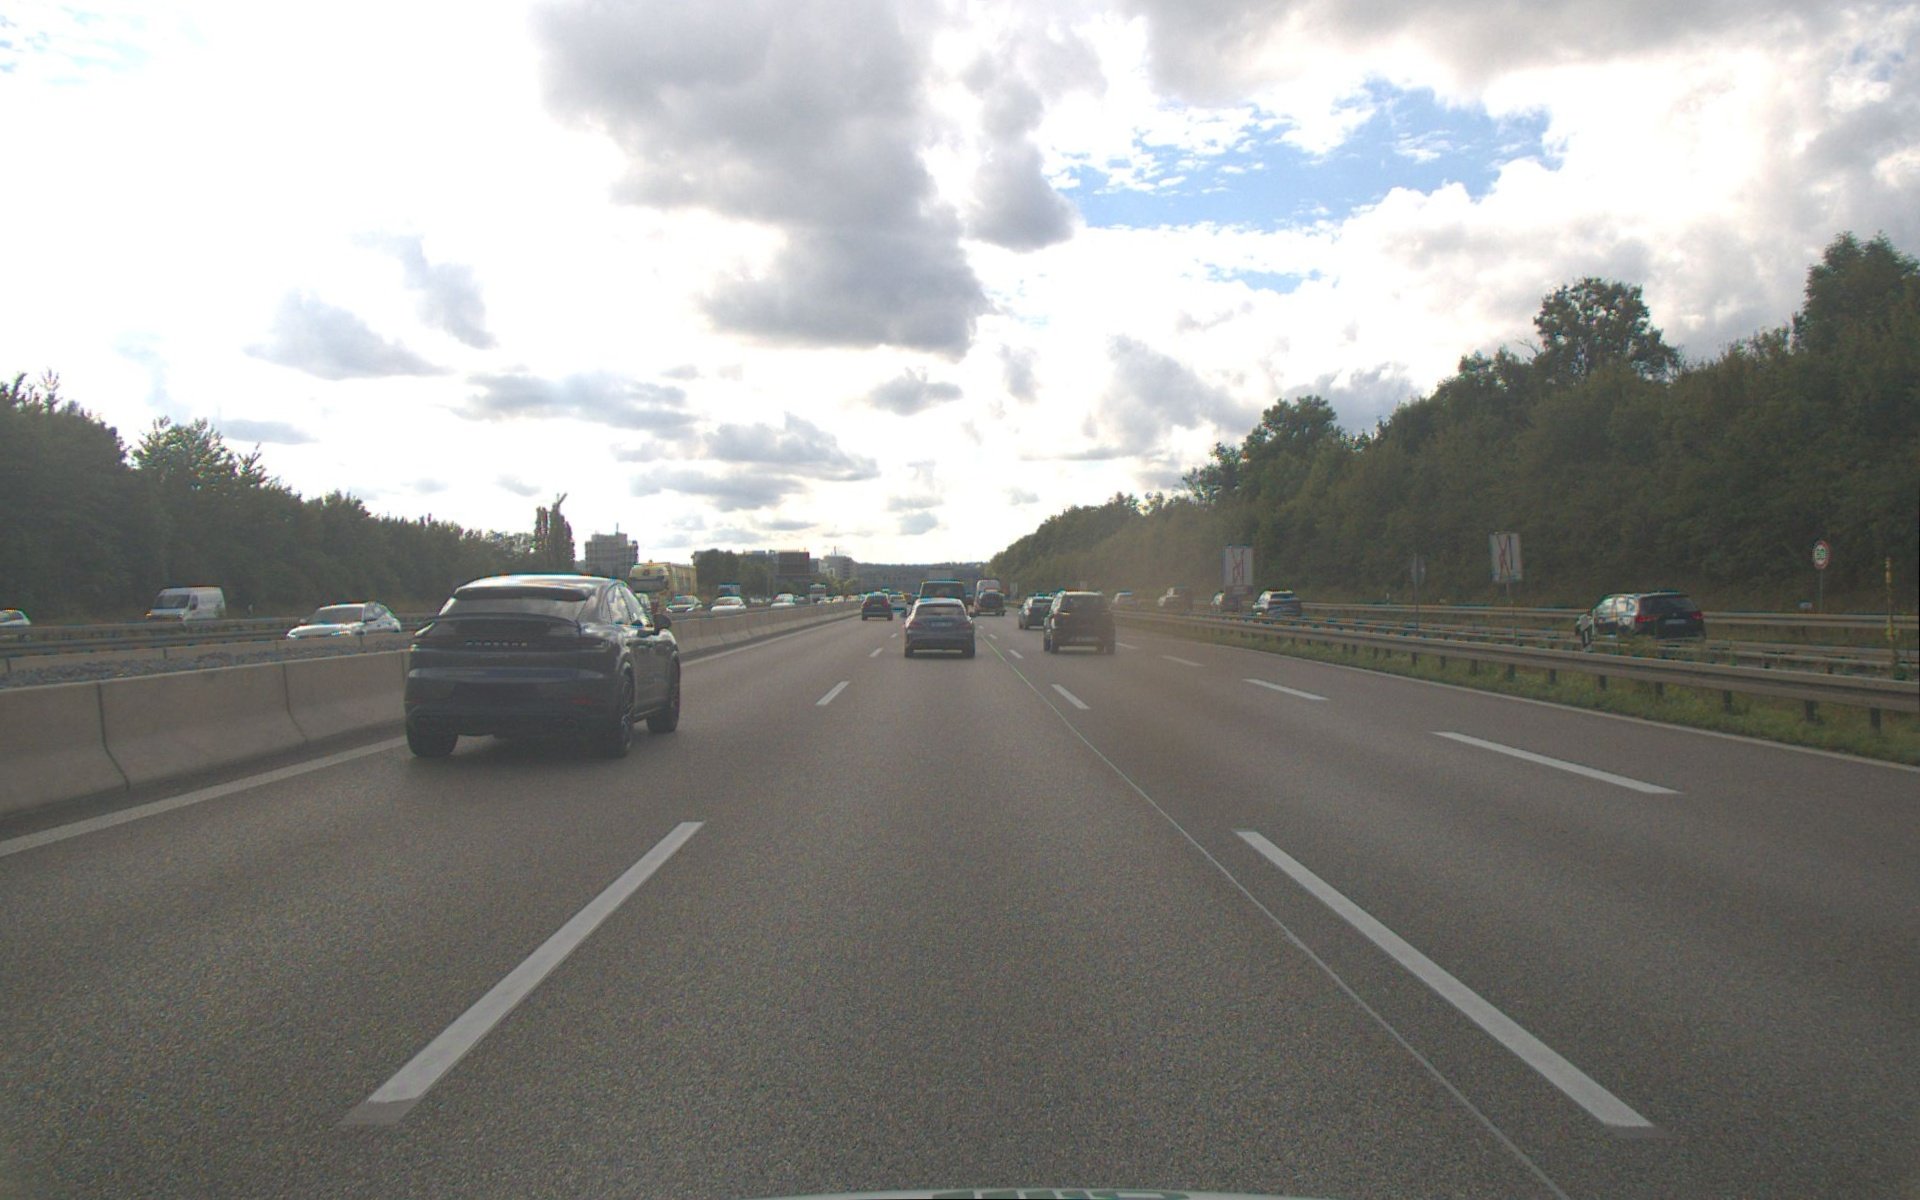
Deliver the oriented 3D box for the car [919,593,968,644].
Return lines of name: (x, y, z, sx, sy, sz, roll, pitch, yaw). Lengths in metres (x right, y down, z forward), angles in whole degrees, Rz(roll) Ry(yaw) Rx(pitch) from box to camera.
car: (-0.612, 0.618, 59.608, 1.686, 1.754, 4.390, 0, 0, -1)

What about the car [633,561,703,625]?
car: (-21.461, -0.526, 122.506, 2.846, 4.401, 14.143, -1, 0, -1)

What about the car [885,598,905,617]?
car: (-5.574, 0.646, 142.952, 1.663, 1.639, 4.112, 0, 0, -2)

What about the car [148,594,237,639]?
car: (-40.863, 0.850, 88.194, 1.952, 2.273, 5.890, -1, 0, 0)

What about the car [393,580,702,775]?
car: (-3.956, 0.639, 16.921, 1.873, 1.664, 5.499, 0, 0, -1)

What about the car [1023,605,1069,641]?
car: (3.869, 1.025, 74.972, 1.795, 1.547, 4.224, 0, 0, -1)

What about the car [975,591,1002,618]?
car: (2.118, 0.313, 124.211, 1.874, 1.952, 4.029, 0, 0, -1)

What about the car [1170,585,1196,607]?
car: (18.864, -0.322, 140.144, 1.563, 1.835, 3.823, 0, 0, -2)

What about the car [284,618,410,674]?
car: (-16.317, 1.188, 44.271, 1.735, 1.317, 4.674, 0, 0, -1)

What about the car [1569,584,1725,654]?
car: (16.586, 0.418, 40.185, 1.806, 1.510, 4.525, -2, 1, -1)

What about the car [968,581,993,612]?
car: (1.600, -0.301, 131.056, 1.835, 2.398, 4.281, 0, 0, -1)

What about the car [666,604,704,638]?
car: (-17.273, 1.279, 104.057, 1.717, 2.049, 4.552, 1, 0, -1)

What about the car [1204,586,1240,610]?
car: (18.645, -0.157, 117.731, 1.694, 1.572, 4.304, -2, 1, -2)

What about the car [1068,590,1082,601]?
car: (16.946, -0.669, 243.721, 1.717, 1.543, 4.189, 0, 0, -2)

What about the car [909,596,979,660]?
car: (-0.428, 0.669, 41.894, 1.686, 1.505, 4.390, 0, 0, -1)

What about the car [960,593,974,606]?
car: (0.950, -0.041, 216.487, 1.716, 1.725, 4.189, 0, 0, -1)

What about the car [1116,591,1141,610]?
car: (15.231, 0.037, 149.823, 1.716, 1.725, 4.189, 0, 0, -1)

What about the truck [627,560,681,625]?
truck: (-21.329, -0.549, 115.552, 2.837, 4.399, 5.161, -1, 0, -1)

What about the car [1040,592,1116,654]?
car: (3.189, 0.592, 45.287, 1.663, 1.592, 4.112, 0, 0, -2)

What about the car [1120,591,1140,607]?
car: (18.393, -0.094, 179.087, 1.716, 1.725, 4.189, 0, 0, -1)

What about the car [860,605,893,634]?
car: (-4.995, 1.151, 99.603, 1.835, 1.727, 4.071, 0, 0, -1)

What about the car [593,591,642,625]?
car: (-16.790, 0.378, 81.260, 1.562, 1.639, 4.463, 0, 0, -1)

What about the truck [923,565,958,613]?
truck: (-1.896, -1.059, 159.269, 3.197, 4.451, 11.024, 1, 0, -1)

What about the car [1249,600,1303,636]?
car: (16.050, 0.876, 84.129, 1.809, 1.678, 4.305, -2, 1, -1)
